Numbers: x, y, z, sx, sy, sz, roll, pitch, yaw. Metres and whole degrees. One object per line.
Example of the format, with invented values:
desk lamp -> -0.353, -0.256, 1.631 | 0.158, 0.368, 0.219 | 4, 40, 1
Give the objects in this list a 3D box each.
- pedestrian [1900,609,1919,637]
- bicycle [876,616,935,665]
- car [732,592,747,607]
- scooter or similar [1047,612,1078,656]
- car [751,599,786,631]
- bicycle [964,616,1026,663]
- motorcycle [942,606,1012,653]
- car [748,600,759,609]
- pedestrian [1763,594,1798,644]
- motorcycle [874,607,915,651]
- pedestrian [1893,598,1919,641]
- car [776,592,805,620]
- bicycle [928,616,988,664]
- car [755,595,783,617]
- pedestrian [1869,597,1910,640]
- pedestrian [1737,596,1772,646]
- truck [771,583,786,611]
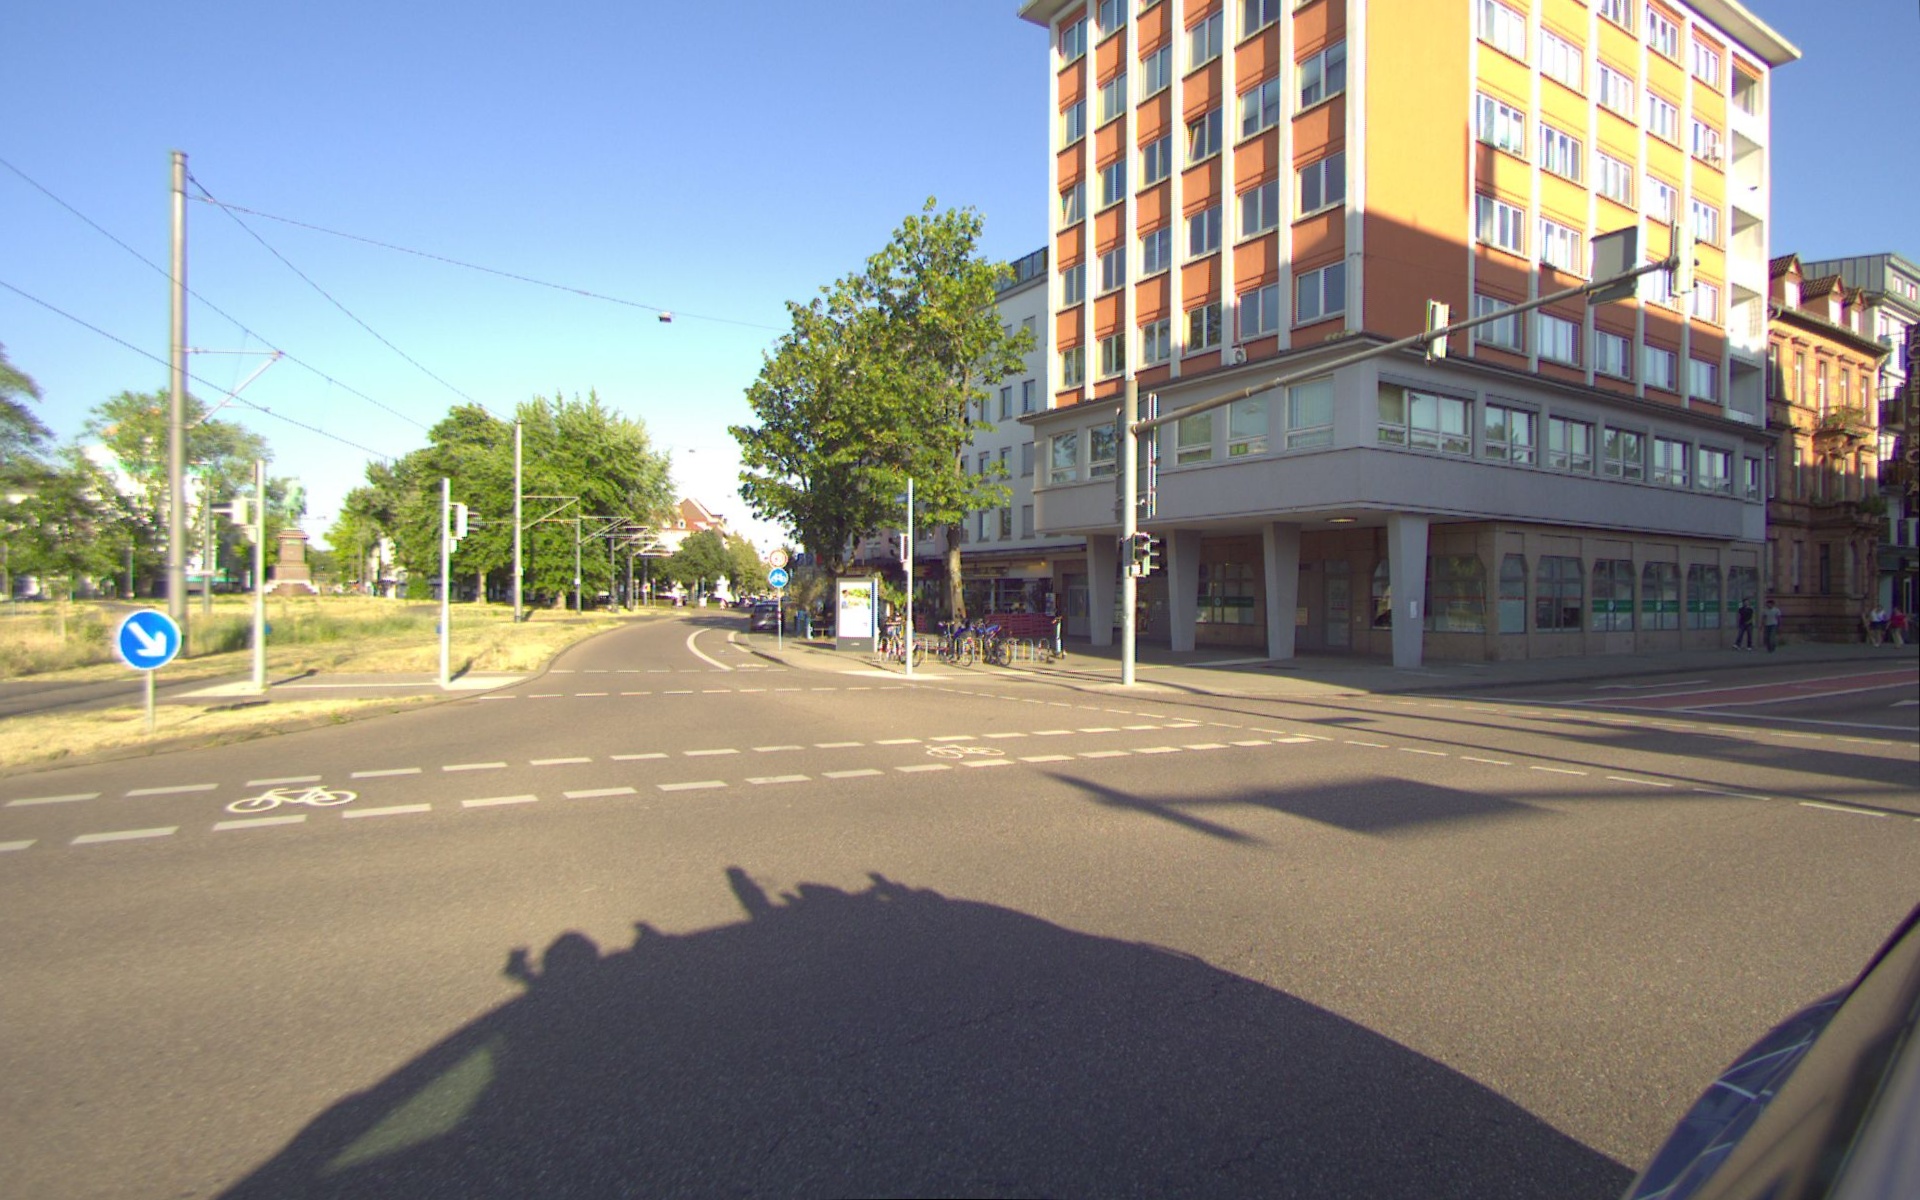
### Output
pedestrian -> 40.196, 0.962, 42.329 | 0.907, 1.150, 1.101 | 1, 0, -34
bicycle -> -1.443, 1.035, 26.295 | 0.582, 1.129, 1.979 | 1, 2, -34
car -> -27.409, -0.112, 125.820 | 1.615, 1.837, 3.495 | 0, 0, -11
scooter or similar -> 3.158, 1.040, 31.178 | 0.474, 1.251, 1.565 | 0, 1, -12
car -> -9.295, 0.696, 49.118 | 1.607, 1.446, 3.642 | 0, 0, -11
bicycle -> 0.949, 1.073, 27.867 | 0.582, 1.128, 2.063 | 1, 2, -34
motorcycle -> 0.537, 0.896, 31.405 | 2.229, 1.410, 0.842 | 0, -1, -44
car -> -32.926, 0.683, 161.420 | 1.643, 1.341, 3.783 | 0, 0, -11
pedestrian -> 28.840, 0.652, 35.563 | 0.991, 1.748, 0.669 | 0, 0, -31
motorcycle -> -2.102, 0.895, 32.333 | 0.872, 1.324, 2.061 | 0, 1, -16
pedestrian -> 36.614, 0.742, 38.891 | 0.990, 1.607, 0.740 | 0, 4, -28
car -> -10.018, 0.344, 59.539 | 1.607, 1.566, 3.642 | 0, 0, -11
bicycle -> -0.083, 1.056, 27.178 | 0.582, 1.128, 2.008 | 1, 2, -33
car -> -14.001, 0.425, 74.116 | 1.923, 1.576, 3.880 | 0, 0, -11
pedestrian -> 36.394, 0.721, 39.624 | 0.990, 1.607, 0.789 | 0, 4, -28
pedestrian -> 28.462, 0.738, 36.239 | 0.991, 1.748, 0.669 | 1, 0, -31
truck -> -21.448, -0.381, 119.638 | 1.704, 3.261, 6.419 | 0, 0, -11
